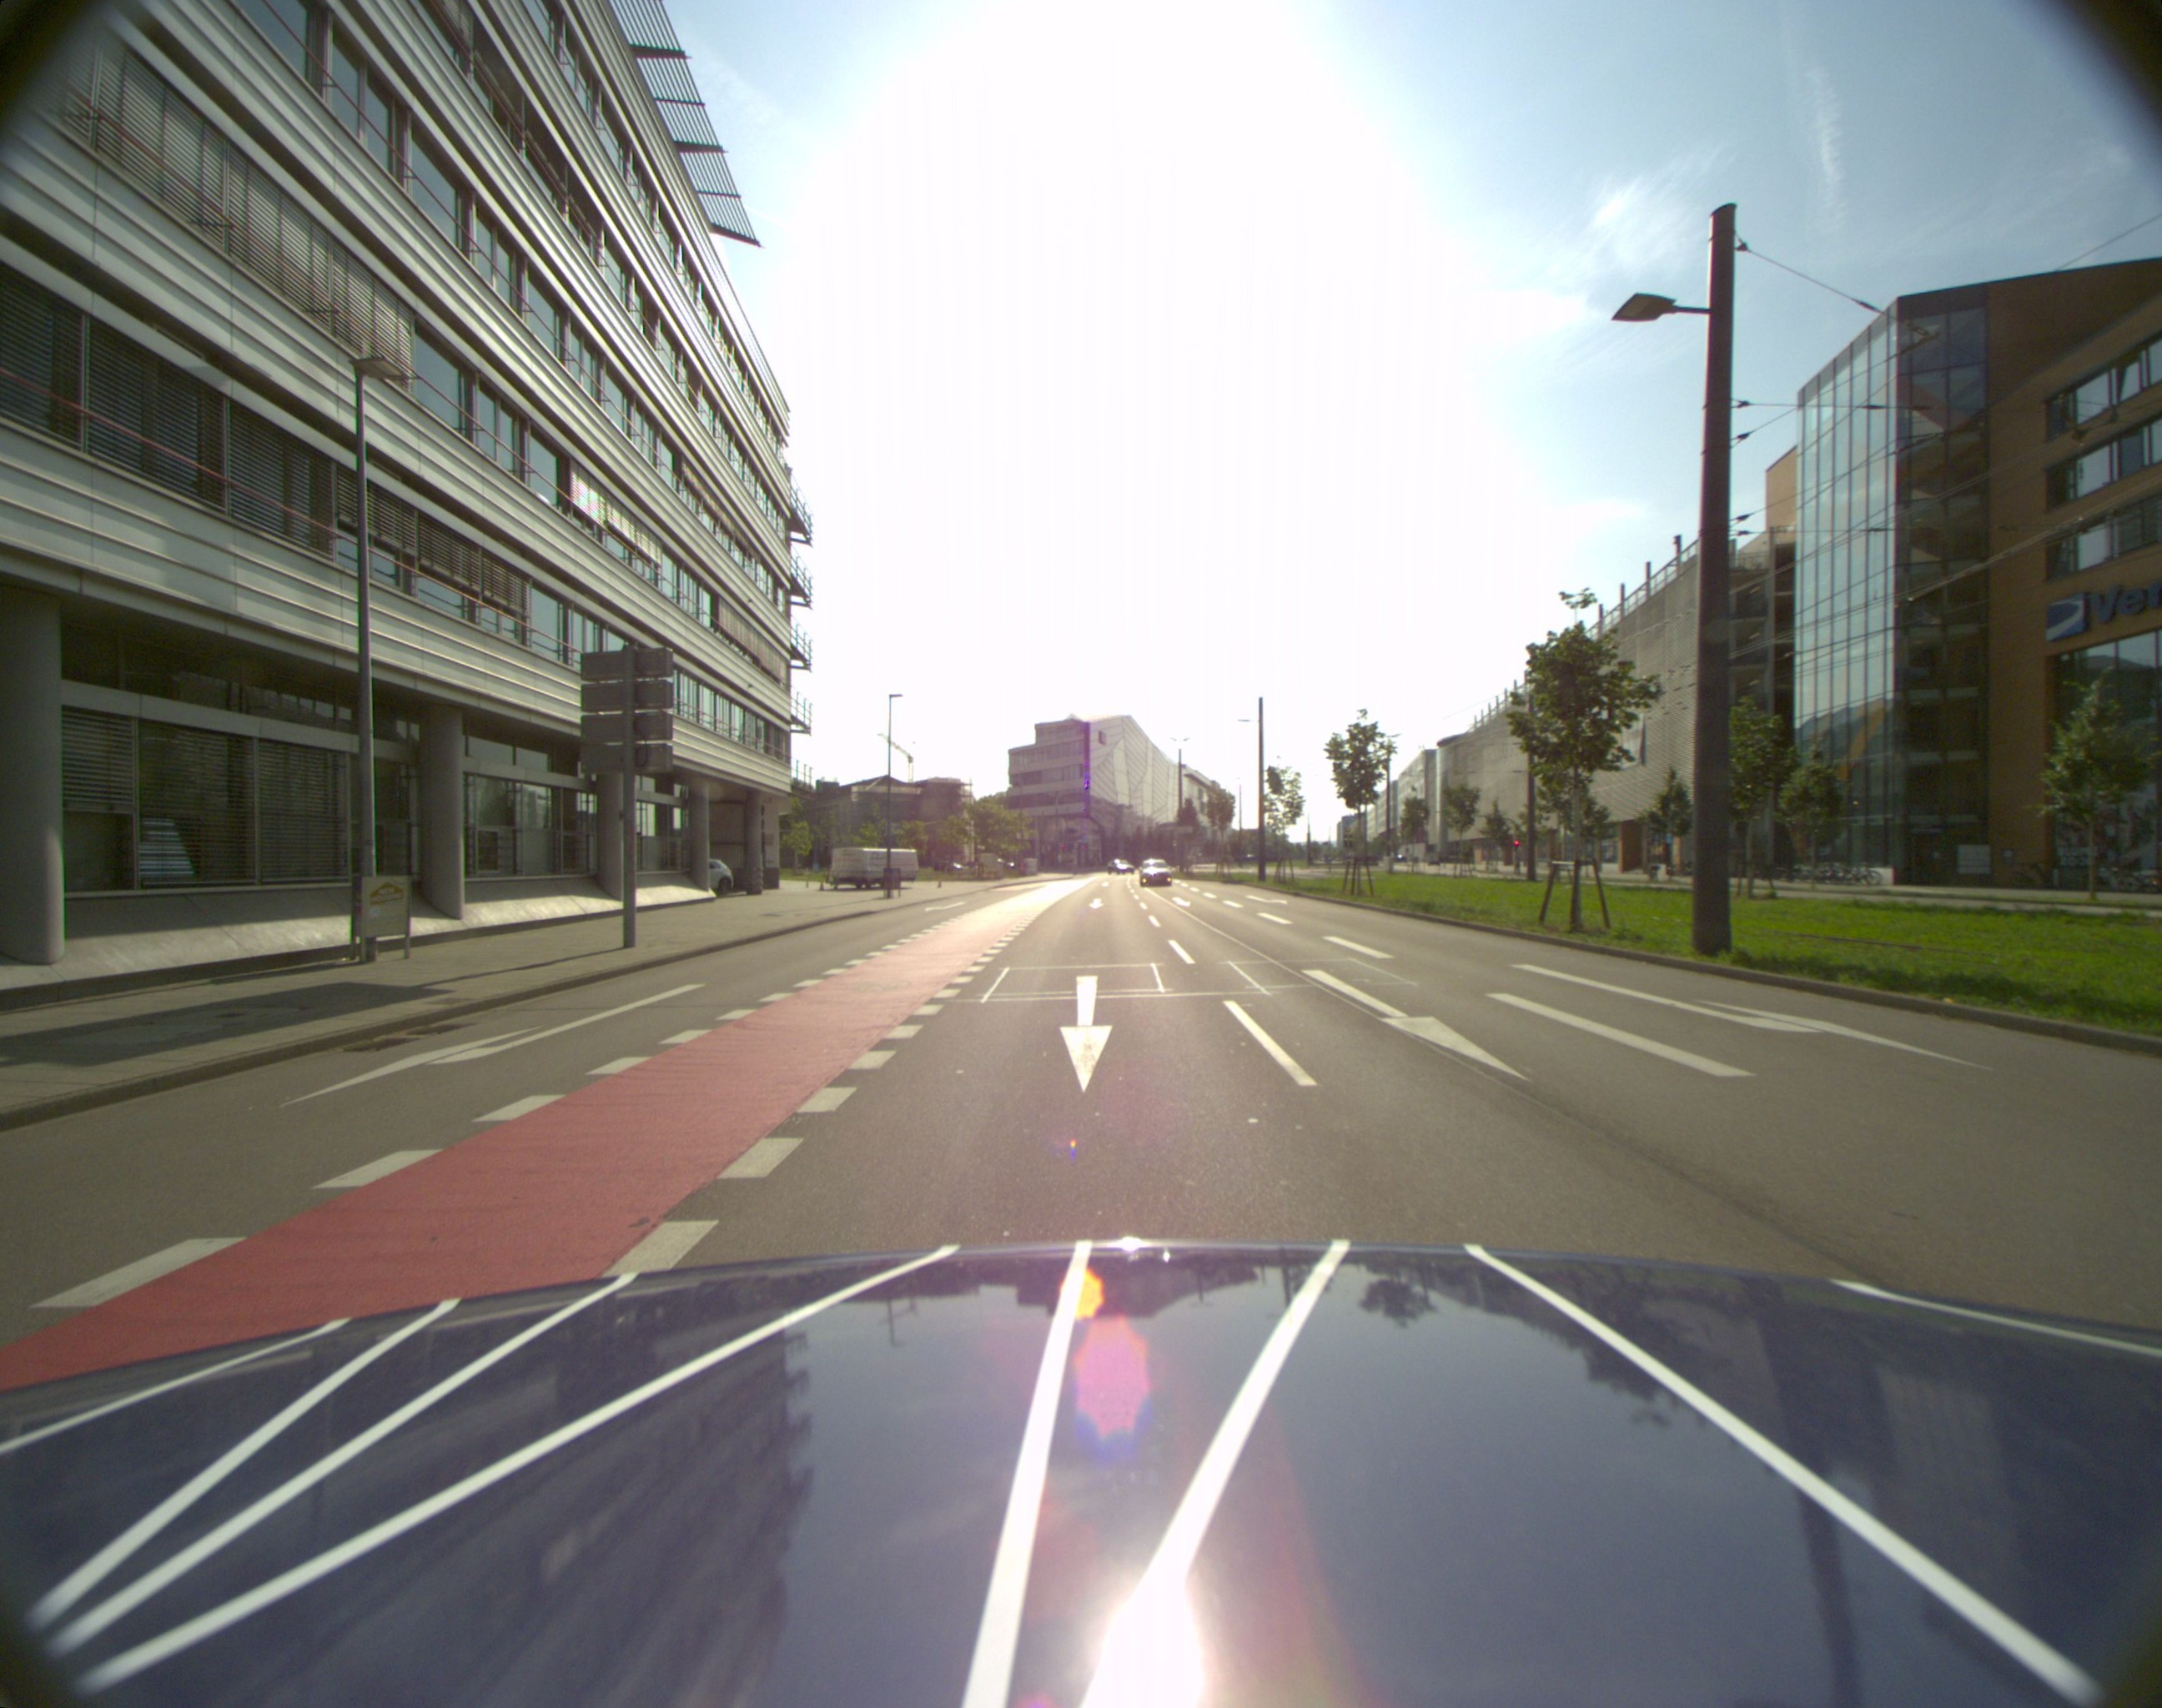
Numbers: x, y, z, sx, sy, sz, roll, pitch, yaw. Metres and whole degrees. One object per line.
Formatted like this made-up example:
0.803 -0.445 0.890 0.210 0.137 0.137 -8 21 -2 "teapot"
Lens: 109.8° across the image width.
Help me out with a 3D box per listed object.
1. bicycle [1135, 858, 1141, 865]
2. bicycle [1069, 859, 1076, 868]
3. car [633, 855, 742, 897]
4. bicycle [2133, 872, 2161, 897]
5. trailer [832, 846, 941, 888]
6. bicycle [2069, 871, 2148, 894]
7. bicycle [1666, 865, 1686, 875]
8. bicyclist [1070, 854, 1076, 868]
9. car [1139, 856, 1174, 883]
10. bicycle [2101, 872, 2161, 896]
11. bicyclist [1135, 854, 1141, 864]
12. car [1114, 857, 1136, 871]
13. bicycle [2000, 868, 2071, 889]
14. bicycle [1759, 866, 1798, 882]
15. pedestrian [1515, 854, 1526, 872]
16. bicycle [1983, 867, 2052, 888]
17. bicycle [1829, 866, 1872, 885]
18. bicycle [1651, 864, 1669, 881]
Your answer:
8.737 1.127 116.758 0.418 1.050 1.962 1 2 23 "bicycle"
-1.025 1.188 95.389 0.669 1.092 1.805 0 2 6 "bicycle"
-15.595 0.856 30.361 1.747 1.580 4.004 0 -1 11 "car"
40.983 1.123 28.444 2.051 0.916 0.574 0 0 11 "bicycle"
-10.456 0.669 41.420 2.390 2.138 5.960 0 0 27 "trailer"
41.336 1.130 30.580 2.051 0.916 0.574 0 0 11 "bicycle"
42.888 1.146 54.774 1.004 0.747 0.453 0 0 18 "bicycle"
-1.013 0.872 95.474 0.669 1.693 0.637 0 2 6 "bicyclist"
4.216 0.866 42.800 1.643 1.411 3.895 0 0 0 "car"
41.135 1.170 29.445 2.051 0.916 0.574 0 0 11 "bicycle"
8.755 0.796 116.725 0.781 1.577 0.933 1 2 22 "bicyclist"
4.488 0.984 77.253 1.588 1.335 3.162 0 0 -10 "car"
41.999 1.086 33.447 2.051 0.916 0.574 0 0 11 "bicycle"
39.703 1.132 43.271 1.581 0.935 0.473 0 1 16 "bicycle"
40.099 0.823 69.351 0.762 1.570 0.590 0 1 12 "pedestrian"
42.114 1.066 34.175 2.051 0.916 0.574 0 0 11 "bicycle"
40.082 1.115 39.606 1.581 0.935 0.412 0 1 16 "bicycle"
37.207 1.206 48.859 0.444 0.982 2.167 1 2 26 "bicycle"
